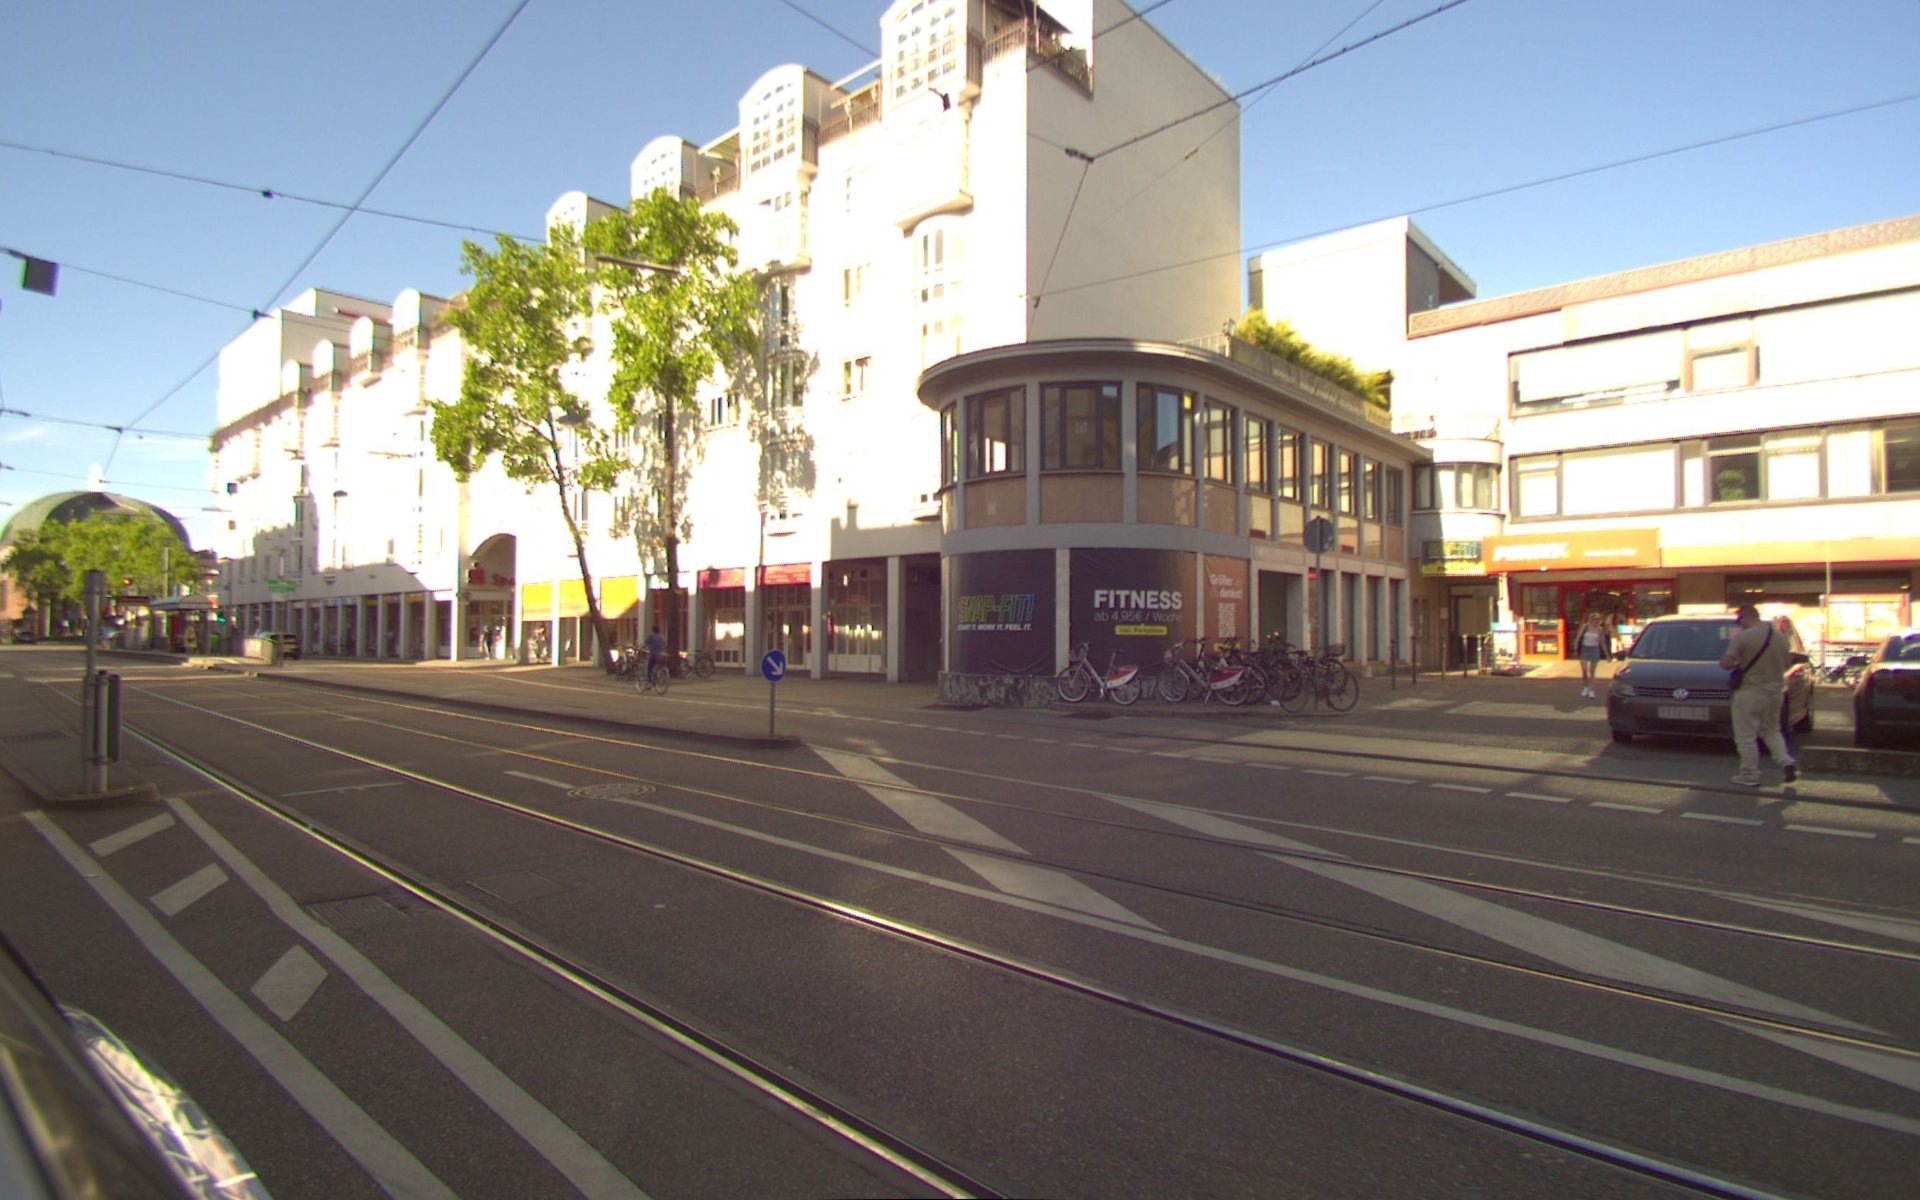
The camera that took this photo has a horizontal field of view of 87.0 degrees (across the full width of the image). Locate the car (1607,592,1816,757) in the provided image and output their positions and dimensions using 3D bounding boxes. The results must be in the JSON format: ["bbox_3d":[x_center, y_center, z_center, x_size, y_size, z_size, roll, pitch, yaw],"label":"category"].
[{"bbox_3d":[9.808,0.845,13.077,1.785,1.777,4.188,-2,-2,41],"label":"car"}]

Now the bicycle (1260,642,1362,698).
[{"bbox_3d":[7.079,1.392,20.468,1.874,1.085,0.459,-2,-3,33],"label":"bicycle"}]

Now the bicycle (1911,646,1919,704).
[{"bbox_3d":[18.158,1.331,17.764,2.061,1.022,0.504,-2,-3,40],"label":"bicycle"}]

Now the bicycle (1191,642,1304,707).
[{"bbox_3d":[5.099,1.303,18.003,1.875,1.095,0.459,-2,-3,35],"label":"bicycle"}]

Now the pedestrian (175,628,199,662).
[{"bbox_3d":[-37.737,2.176,49.394,0.747,1.657,0.784,-2,-3,42],"label":"pedestrian"}]

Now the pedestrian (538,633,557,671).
[{"bbox_3d":[-18.051,2.288,44.300,0.523,1.657,0.556,-3,-5,42],"label":"pedestrian"}]

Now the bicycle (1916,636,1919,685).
[{"bbox_3d":[20.786,1.234,20.459,2.061,1.022,0.499,-2,-3,40],"label":"bicycle"}]

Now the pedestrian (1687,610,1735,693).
[{"bbox_3d":[15.256,1.034,20.559,0.691,1.646,0.632,-3,-3,41],"label":"pedestrian"}]

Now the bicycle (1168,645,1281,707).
[{"bbox_3d":[4.611,1.316,17.729,1.875,1.044,0.459,-2,-3,35],"label":"bicycle"}]

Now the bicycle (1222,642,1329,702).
[{"bbox_3d":[5.958,1.347,19.189,1.874,1.085,0.459,-2,-3,33],"label":"bicycle"}]

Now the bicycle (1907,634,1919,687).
[{"bbox_3d":[19.423,1.148,19.207,2.061,1.022,0.499,-2,-3,40],"label":"bicycle"}]

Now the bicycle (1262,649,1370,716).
[{"bbox_3d":[5.882,1.341,16.698,1.847,1.044,0.427,1,-3,-23],"label":"bicycle"}]

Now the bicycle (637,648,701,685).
[{"bbox_3d":[-8.911,2.022,31.075,1.850,1.085,0.465,2,-3,-40],"label":"bicycle"}]

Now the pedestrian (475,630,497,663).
[{"bbox_3d":[-23.439,2.290,50.022,0.731,1.657,0.737,-2,-3,42],"label":"pedestrian"}]

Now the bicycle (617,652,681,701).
[{"bbox_3d":[-7.666,1.870,24.913,2.004,1.132,0.557,-2,-6,44],"label":"bicycle"}]

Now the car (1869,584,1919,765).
[{"bbox_3d":[11.492,0.781,11.395,1.785,1.826,4.188,-2,-3,42],"label":"car"}]

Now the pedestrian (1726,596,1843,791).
[{"bbox_3d":[7.916,0.861,9.754,0.778,1.777,0.707,-2,-1,35],"label":"pedestrian"}]

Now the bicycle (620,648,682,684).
[{"bbox_3d":[-9.855,2.090,32.294,1.850,1.085,0.465,2,-3,-40],"label":"bicycle"}]

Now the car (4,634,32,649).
[{"bbox_3d":[-105.422,4.627,113.196,3.999,1.630,1.972,-3,-3,43],"label":"car"}]

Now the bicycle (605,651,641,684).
[{"bbox_3d":[-10.312,2.042,30.927,0.463,0.939,1.757,1,-2,-38],"label":"bicycle"}]

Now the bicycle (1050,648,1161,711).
[{"bbox_3d":[2.522,1.364,17.668,1.875,1.044,0.519,-2,-3,35],"label":"bicycle"}]

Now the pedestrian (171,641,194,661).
[{"bbox_3d":[-40.376,2.647,52.561,0.747,0.996,0.784,-2,-3,42],"label":"pedestrian"}]

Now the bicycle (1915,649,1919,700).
[{"bbox_3d":[20.245,1.488,19.912,2.061,1.022,0.490,-2,-3,40],"label":"bicycle"}]

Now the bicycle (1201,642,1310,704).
[{"bbox_3d":[5.402,1.321,18.573,1.875,1.085,0.459,-2,-2,35],"label":"bicycle"}]

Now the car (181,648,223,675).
[{"bbox_3d":[-48.846,3.926,65.170,1.757,1.681,4.777,3,-4,-41],"label":"car"}]

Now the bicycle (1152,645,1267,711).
[{"bbox_3d":[4.254,1.319,17.334,1.875,1.088,0.459,-2,-3,35],"label":"bicycle"}]

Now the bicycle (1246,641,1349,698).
[{"bbox_3d":[6.662,1.364,20.043,1.874,1.085,0.459,-2,-3,33],"label":"bicycle"}]

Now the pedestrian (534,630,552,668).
[{"bbox_3d":[-18.193,2.138,44.120,0.523,1.657,0.556,-2,-3,42],"label":"pedestrian"}]

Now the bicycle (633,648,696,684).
[{"bbox_3d":[-9.195,2.041,31.508,1.850,1.085,0.465,2,-3,-40],"label":"bicycle"}]

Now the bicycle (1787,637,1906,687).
[{"bbox_3d":[18.549,1.282,21.216,0.363,1.022,1.827,2,-3,-44],"label":"bicycle"}]

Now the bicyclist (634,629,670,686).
[{"bbox_3d":[-7.535,1.392,24.756,0.719,1.372,0.556,-2,-3,44],"label":"bicyclist"}]

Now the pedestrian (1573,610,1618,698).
[{"bbox_3d":[12.644,1.068,20.137,0.653,1.708,0.476,-2,-3,40],"label":"pedestrian"}]

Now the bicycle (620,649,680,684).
[{"bbox_3d":[-10.125,2.156,33.094,1.851,1.085,0.512,2,-3,-43],"label":"bicycle"}]

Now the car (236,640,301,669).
[{"bbox_3d":[-38.390,3.006,56.186,4.262,1.552,1.762,-2,-5,39],"label":"car"}]
